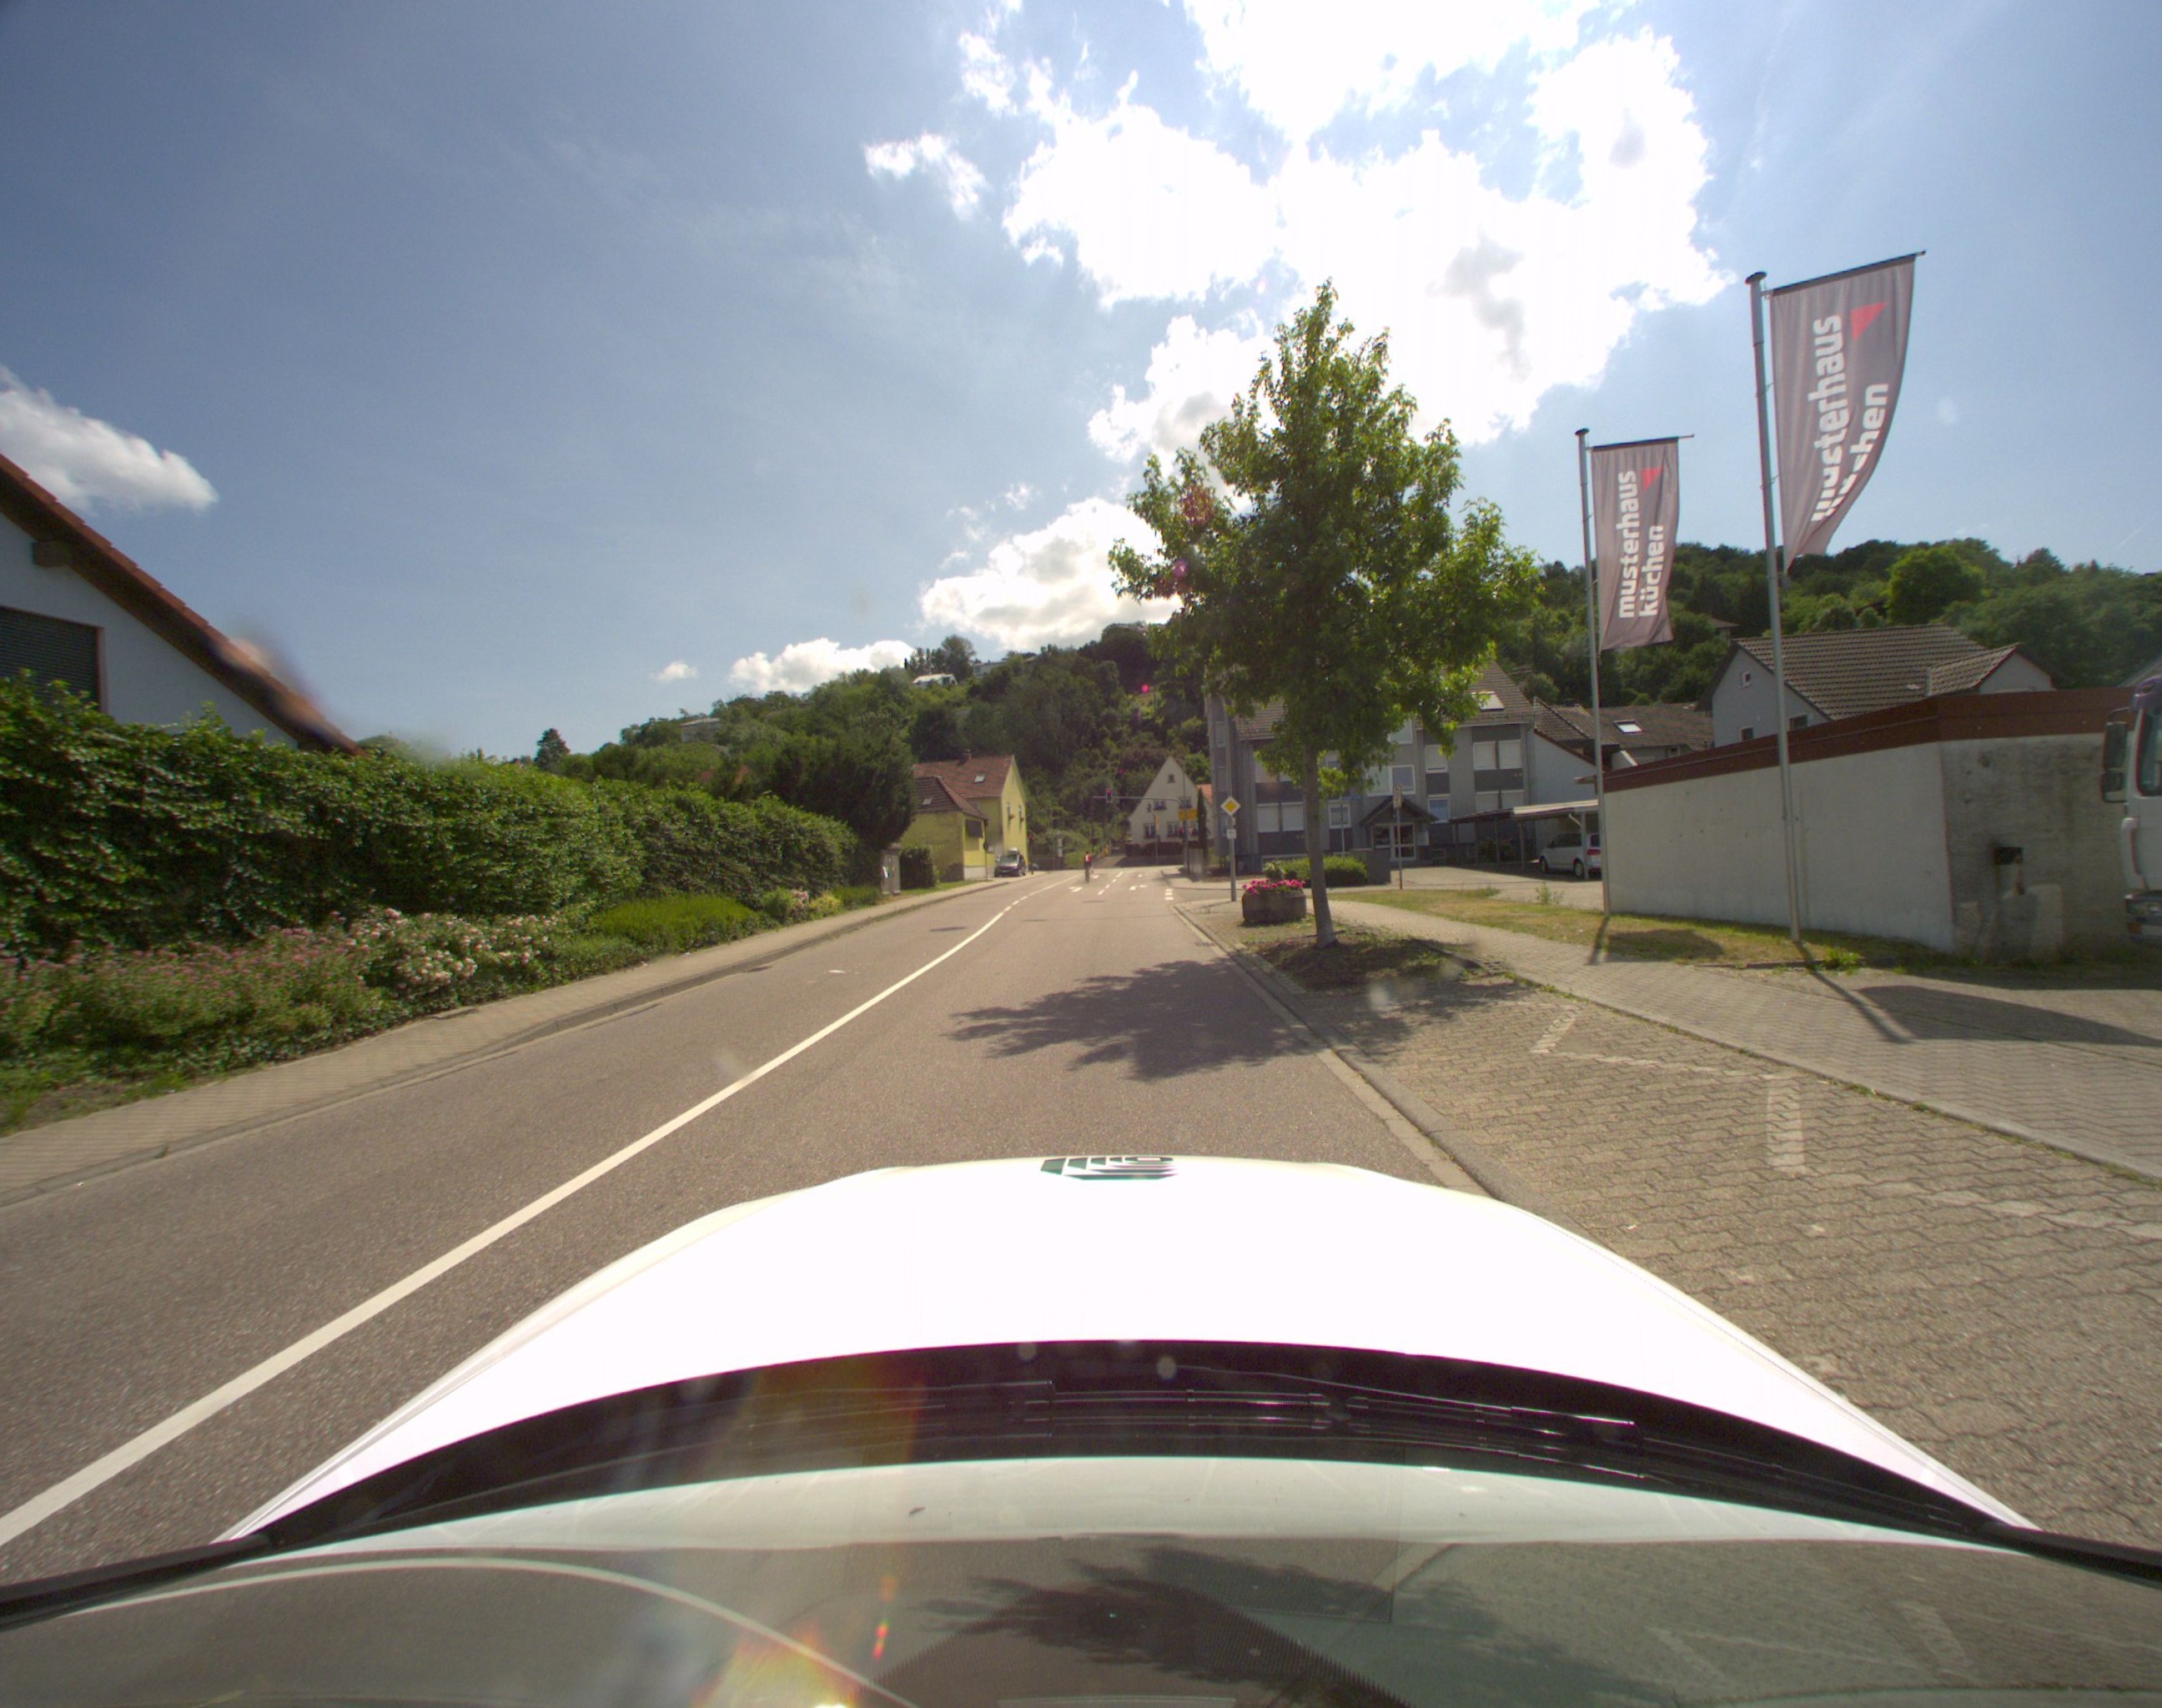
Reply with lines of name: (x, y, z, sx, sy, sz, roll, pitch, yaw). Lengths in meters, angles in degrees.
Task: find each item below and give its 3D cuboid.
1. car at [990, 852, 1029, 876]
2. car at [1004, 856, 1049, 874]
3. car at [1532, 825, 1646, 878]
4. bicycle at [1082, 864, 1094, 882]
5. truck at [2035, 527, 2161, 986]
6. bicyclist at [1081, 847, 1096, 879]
car: (-5.138, 0.721, 59.074, 1.984, 1.635, 4.636, -1, 0, 4)
car: (-5.245, 1.033, 77.960, 3.832, 1.433, 1.793, -4, 0, 13)
car: (18.171, -0.151, 29.390, 1.728, 1.648, 4.223, -3, 2, 5)
bicycle: (0.370, 0.993, 43.110, 0.627, 0.905, 1.657, -2, 0, 0)
truck: (12.485, -0.908, 5.708, 8.140, 3.573, 2.679, -2, -1, 1)
bicyclist: (0.387, 0.478, 43.089, 0.758, 1.664, 0.869, -1, 0, 0)
